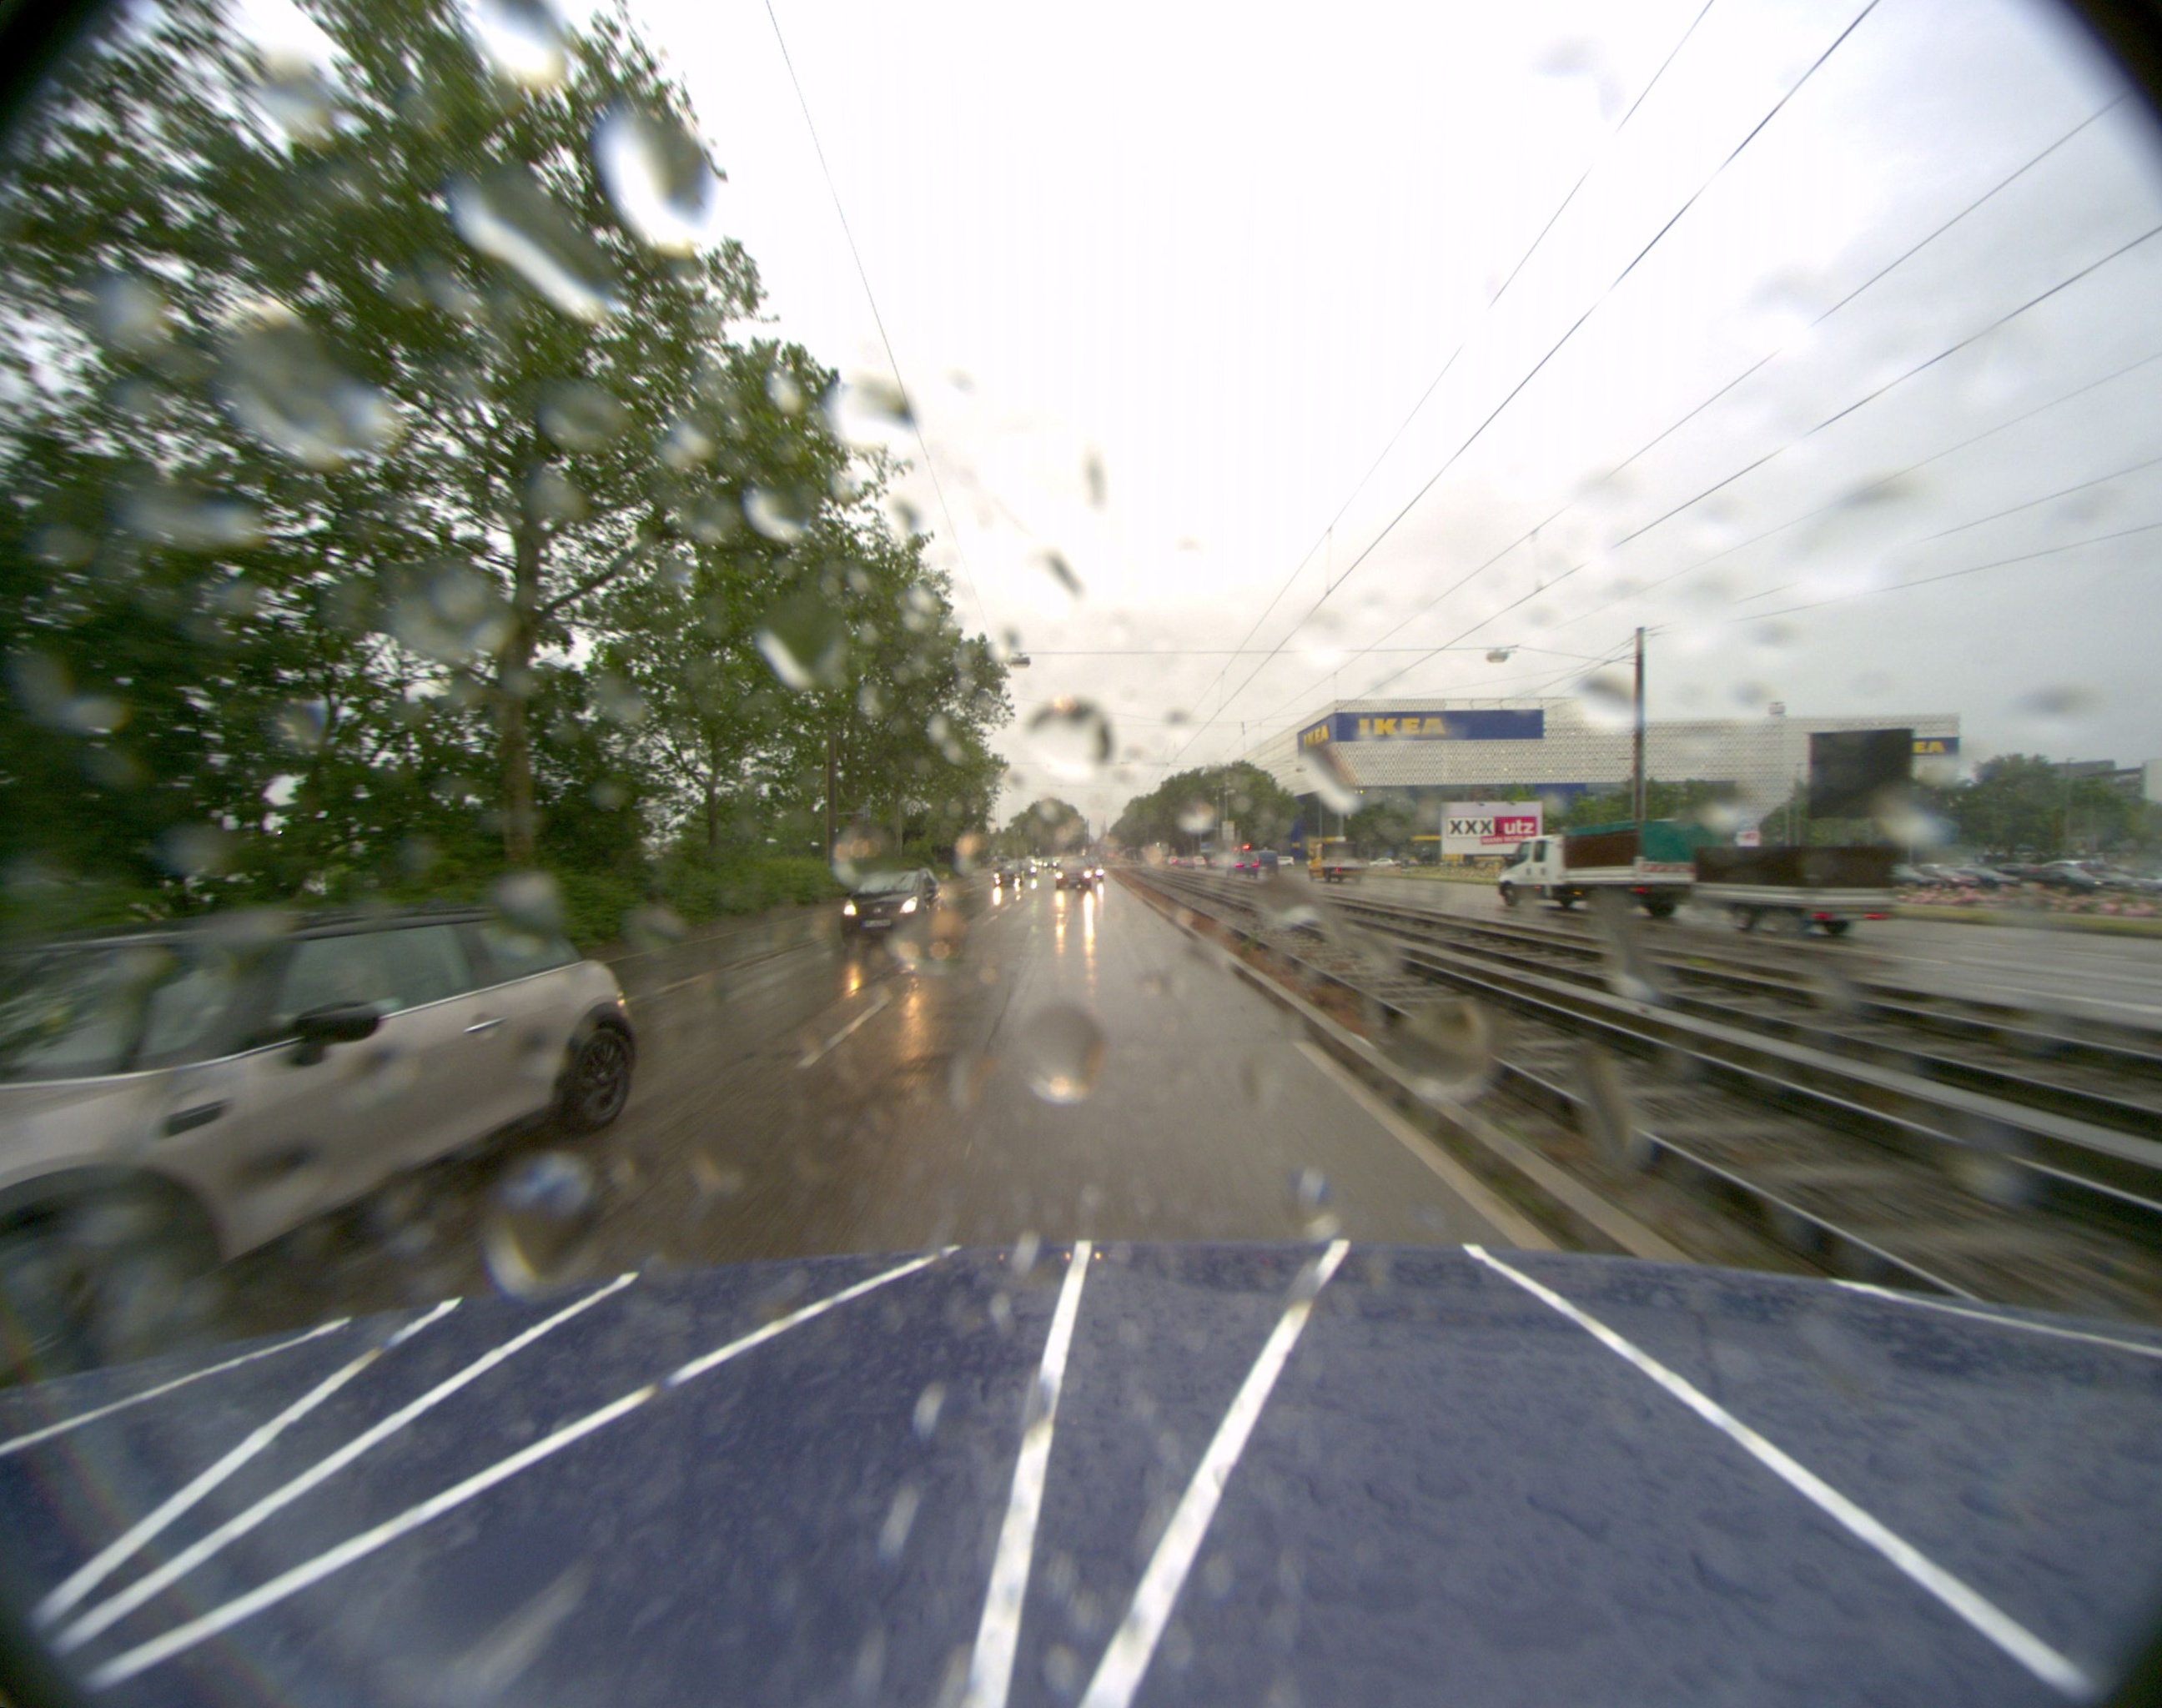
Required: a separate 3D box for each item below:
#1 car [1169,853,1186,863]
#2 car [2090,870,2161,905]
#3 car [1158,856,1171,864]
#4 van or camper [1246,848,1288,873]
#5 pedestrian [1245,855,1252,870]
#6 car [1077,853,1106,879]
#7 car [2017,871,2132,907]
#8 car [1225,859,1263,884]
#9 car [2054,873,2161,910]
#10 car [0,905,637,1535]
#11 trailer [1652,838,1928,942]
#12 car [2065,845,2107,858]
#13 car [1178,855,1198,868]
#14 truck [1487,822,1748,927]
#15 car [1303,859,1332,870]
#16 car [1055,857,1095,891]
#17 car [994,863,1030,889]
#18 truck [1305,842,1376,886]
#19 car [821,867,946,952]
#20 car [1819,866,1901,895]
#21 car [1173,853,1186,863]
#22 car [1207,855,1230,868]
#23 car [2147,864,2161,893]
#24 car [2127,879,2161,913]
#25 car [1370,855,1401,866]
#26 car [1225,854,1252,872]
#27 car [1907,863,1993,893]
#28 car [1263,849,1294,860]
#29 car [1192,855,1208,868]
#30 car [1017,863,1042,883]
[{"bbox_3d":[14.263,0.575,112.828,1.998,1.448,4.671,1,1,1],"label":"car"},{"bbox_3d":[68.223,2.140,48.607,1.999,2.002,3.999,-3,1,-2],"label":"car"},{"bbox_3d":[15.719,1.081,143.372,1.927,1.415,5.084,2,-1,2],"label":"car"},{"bbox_3d":[15.702,0.508,64.379,2.310,2.002,5.686,0,1,2],"label":"van or camper"},{"bbox_3d":[26.089,1.387,118.466,0.920,2.232,0.990,-3,3,14],"label":"pedestrian"},{"bbox_3d":[0.664,0.755,48.758,1.715,1.515,4.043,-3,-1,0],"label":"car"},{"bbox_3d":[62.607,2.164,48.010,1.999,2.002,3.999,-3,1,-2],"label":"car"},{"bbox_3d":[11.844,1.240,55.513,1.823,1.613,4.536,-1,0,1],"label":"car"},{"bbox_3d":[65.522,2.328,48.350,1.999,2.002,3.999,-3,1,-2],"label":"car"},{"bbox_3d":[-3.762,1.094,2.943,1.796,1.406,3.853,-2,1,-1],"label":"car"},{"bbox_3d":[14.375,0.651,15.778,2.124,1.782,3.836,-3,0,2],"label":"trailer"},{"bbox_3d":[162.028,-0.437,122.573,3.996,2.002,2.000,-3,1,2],"label":"car"},{"bbox_3d":[13.124,0.921,93.399,1.863,1.485,4.689,0,1,1],"label":"car"},{"bbox_3d":[14.519,0.458,21.450,2.441,2.443,7.219,0,0,2],"label":"truck"},{"bbox_3d":[38.635,1.728,124.175,4.015,1.609,1.760,-3,1,3],"label":"car"},{"bbox_3d":[-0.327,1.004,39.553,1.876,1.573,4.043,-3,-1,-1],"label":"car"},{"bbox_3d":[-4.163,1.325,46.521,1.715,1.476,4.043,-3,-1,0],"label":"car"},{"bbox_3d":[15.291,0.540,45.248,2.232,2.447,6.066,1,0,1],"label":"truck"},{"bbox_3d":[-3.956,1.052,15.866,1.777,1.453,4.091,-3,-1,-5],"label":"car"},{"bbox_3d":[60.179,1.997,58.802,1.999,2.002,4.090,-3,0,-2],"label":"car"},{"bbox_3d":[16.634,0.765,128.488,1.877,1.564,4.329,-3,-1,2],"label":"car"},{"bbox_3d":[16.284,0.886,90.320,1.968,1.507,4.554,0,1,1],"label":"car"},{"bbox_3d":[77.432,1.750,52.459,1.999,2.002,3.998,-3,1,-2],"label":"car"},{"bbox_3d":[71.120,2.759,48.913,1.999,2.002,3.999,-3,1,-2],"label":"car"},{"bbox_3d":[48.218,1.045,120.303,4.106,1.594,2.000,-3,1,2],"label":"car"},{"bbox_3d":[15.839,0.899,76.745,1.862,1.608,4.908,1,1,2],"label":"car"},{"bbox_3d":[67.263,1.816,58.879,1.999,2.002,3.999,-3,1,-2],"label":"car"},{"bbox_3d":[31.475,0.124,121.058,4.459,1.531,1.820,-2,-1,3],"label":"car"},{"bbox_3d":[18.440,1.189,117.905,1.998,1.823,4.693,-1,1,2],"label":"car"},{"bbox_3d":[-4.220,1.539,62.735,1.715,1.515,4.043,-3,-1,0],"label":"car"}]
